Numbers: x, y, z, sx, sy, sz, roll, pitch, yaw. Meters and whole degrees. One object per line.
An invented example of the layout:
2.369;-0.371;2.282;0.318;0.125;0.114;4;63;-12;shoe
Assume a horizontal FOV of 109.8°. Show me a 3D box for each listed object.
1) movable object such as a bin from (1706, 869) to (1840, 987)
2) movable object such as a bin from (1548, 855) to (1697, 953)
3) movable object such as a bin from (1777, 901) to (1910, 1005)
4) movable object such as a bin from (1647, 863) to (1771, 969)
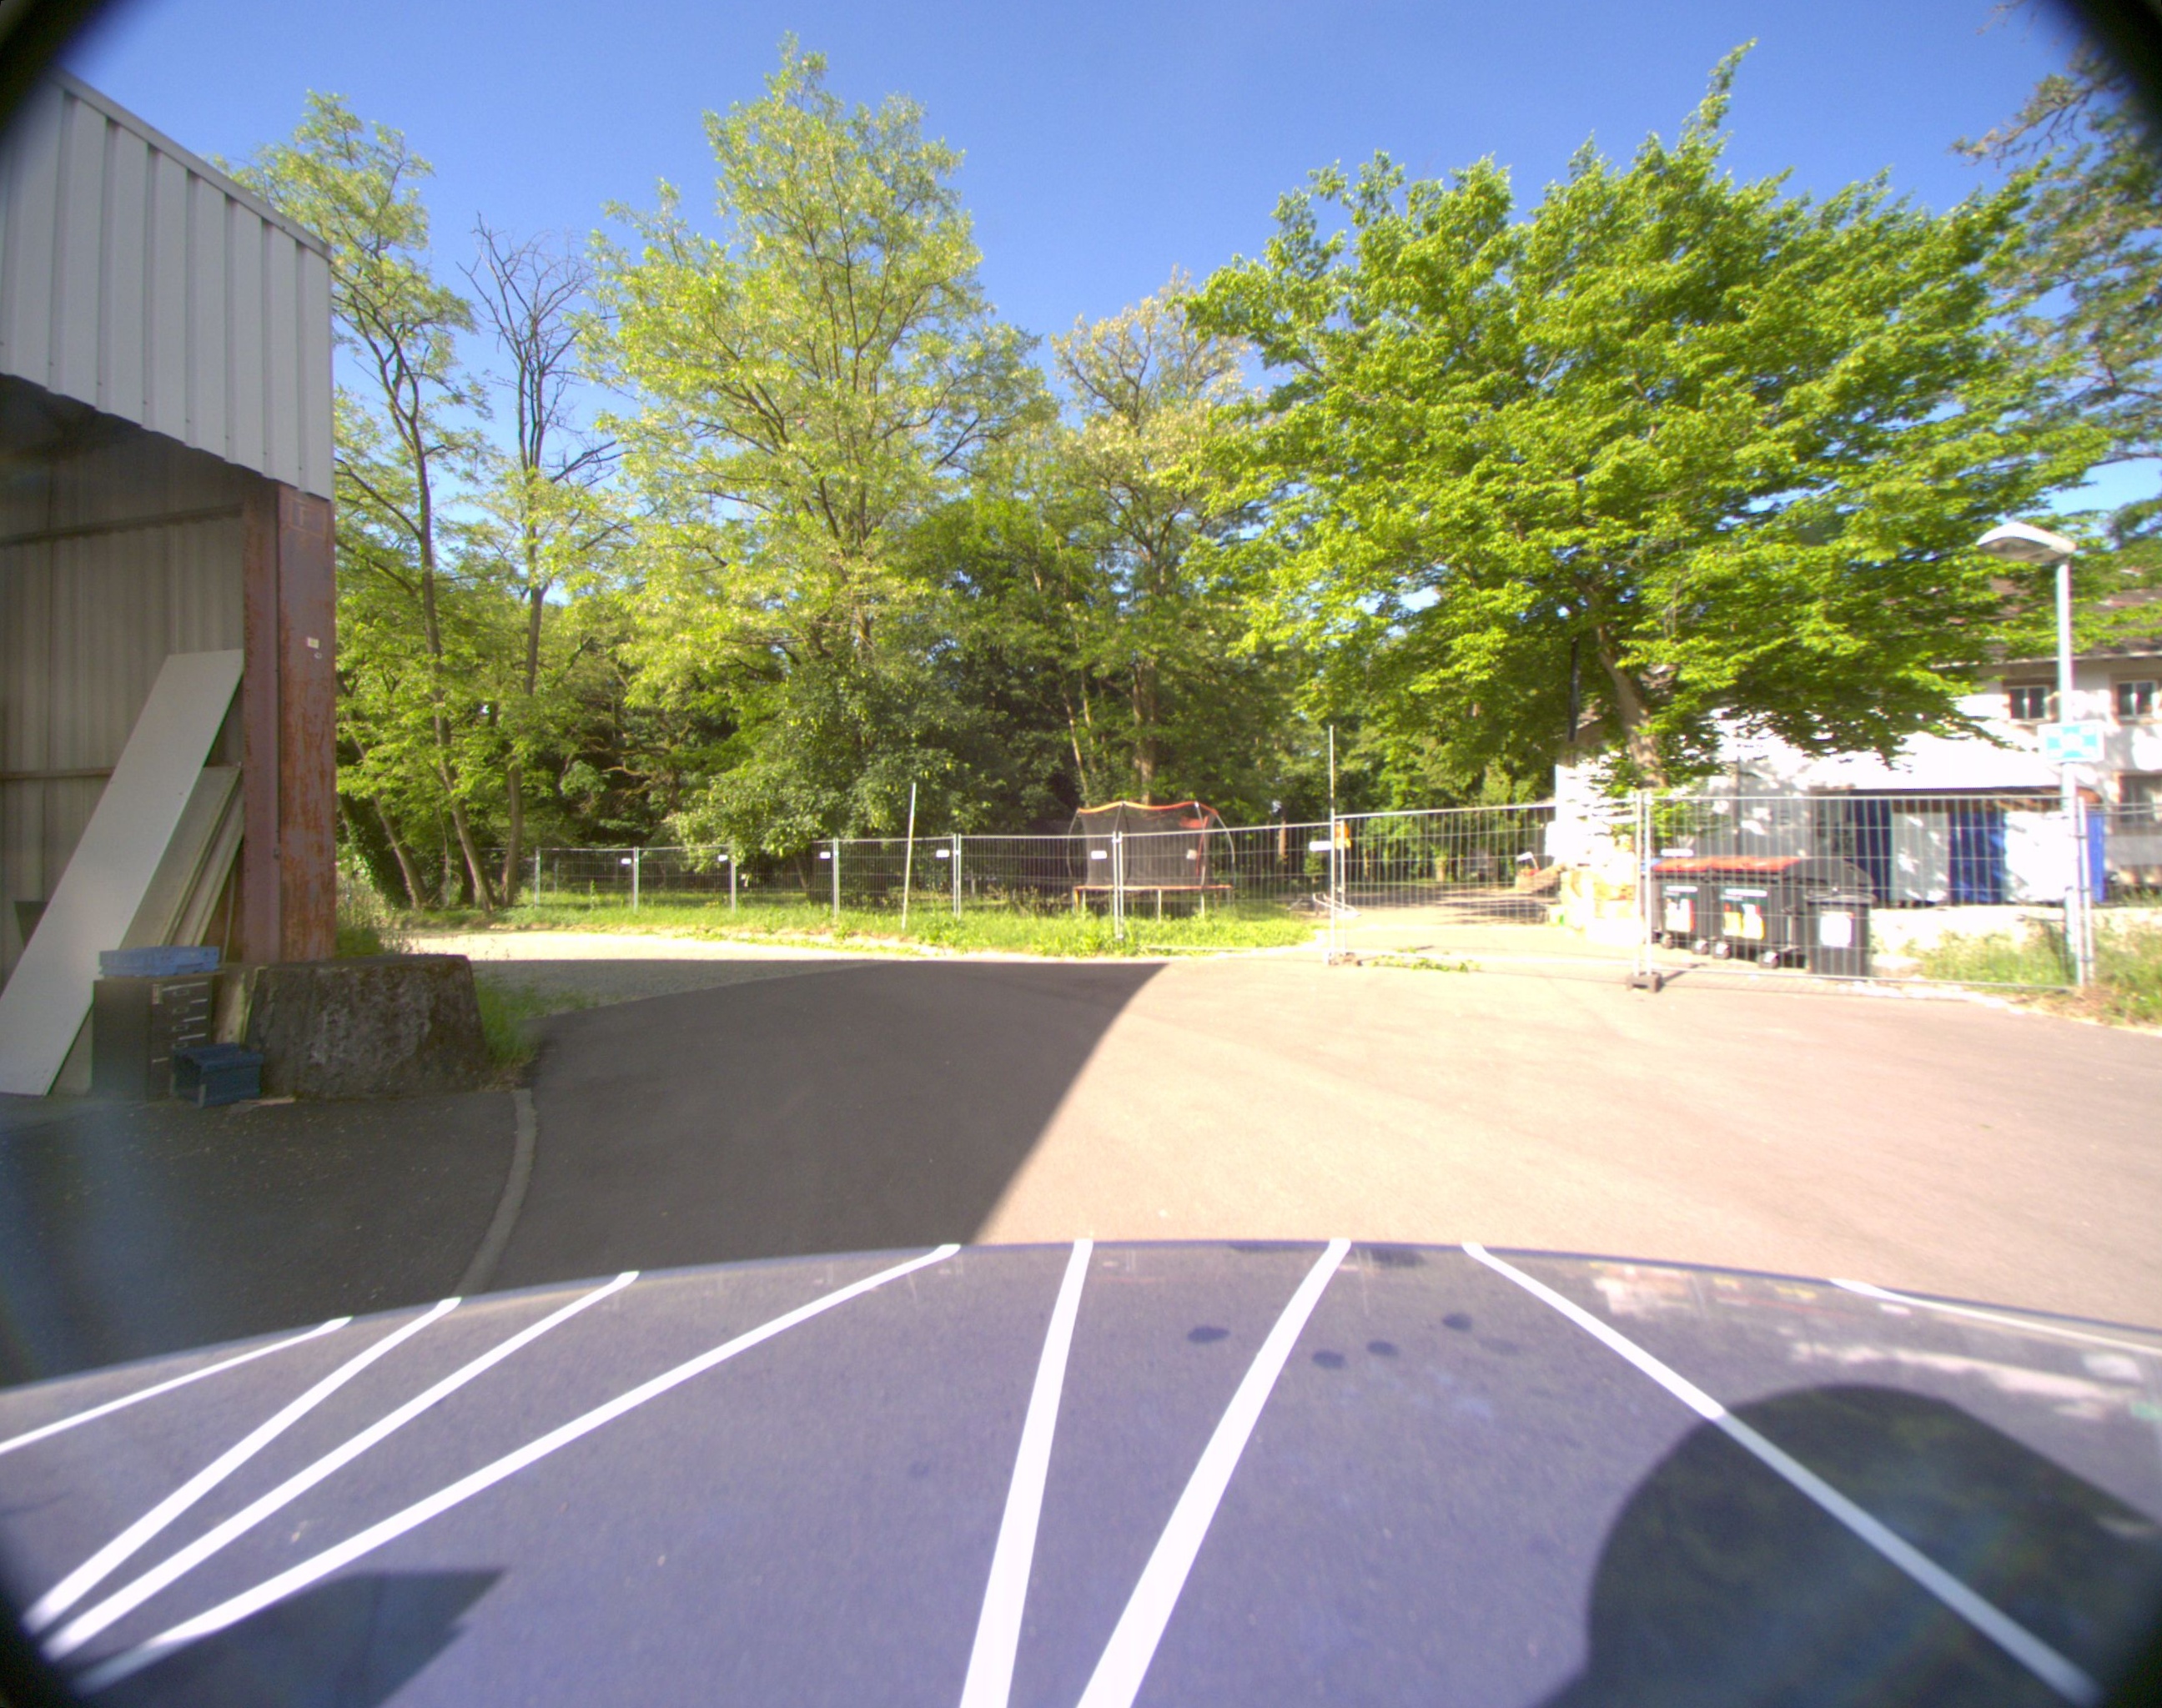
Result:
9.037;0.918;9.980;0.702;1.436;1.249;0;0;6;movable object such as a bin
9.430;0.815;13.395;1.173;1.582;2.297;0;0;6;movable object such as a bin
8.737;1.104;8.750;0.817;1.091;0.739;0;0;15;movable object such as a bin
9.283;0.876;11.302;0.806;1.475;1.342;0;0;6;movable object such as a bin
